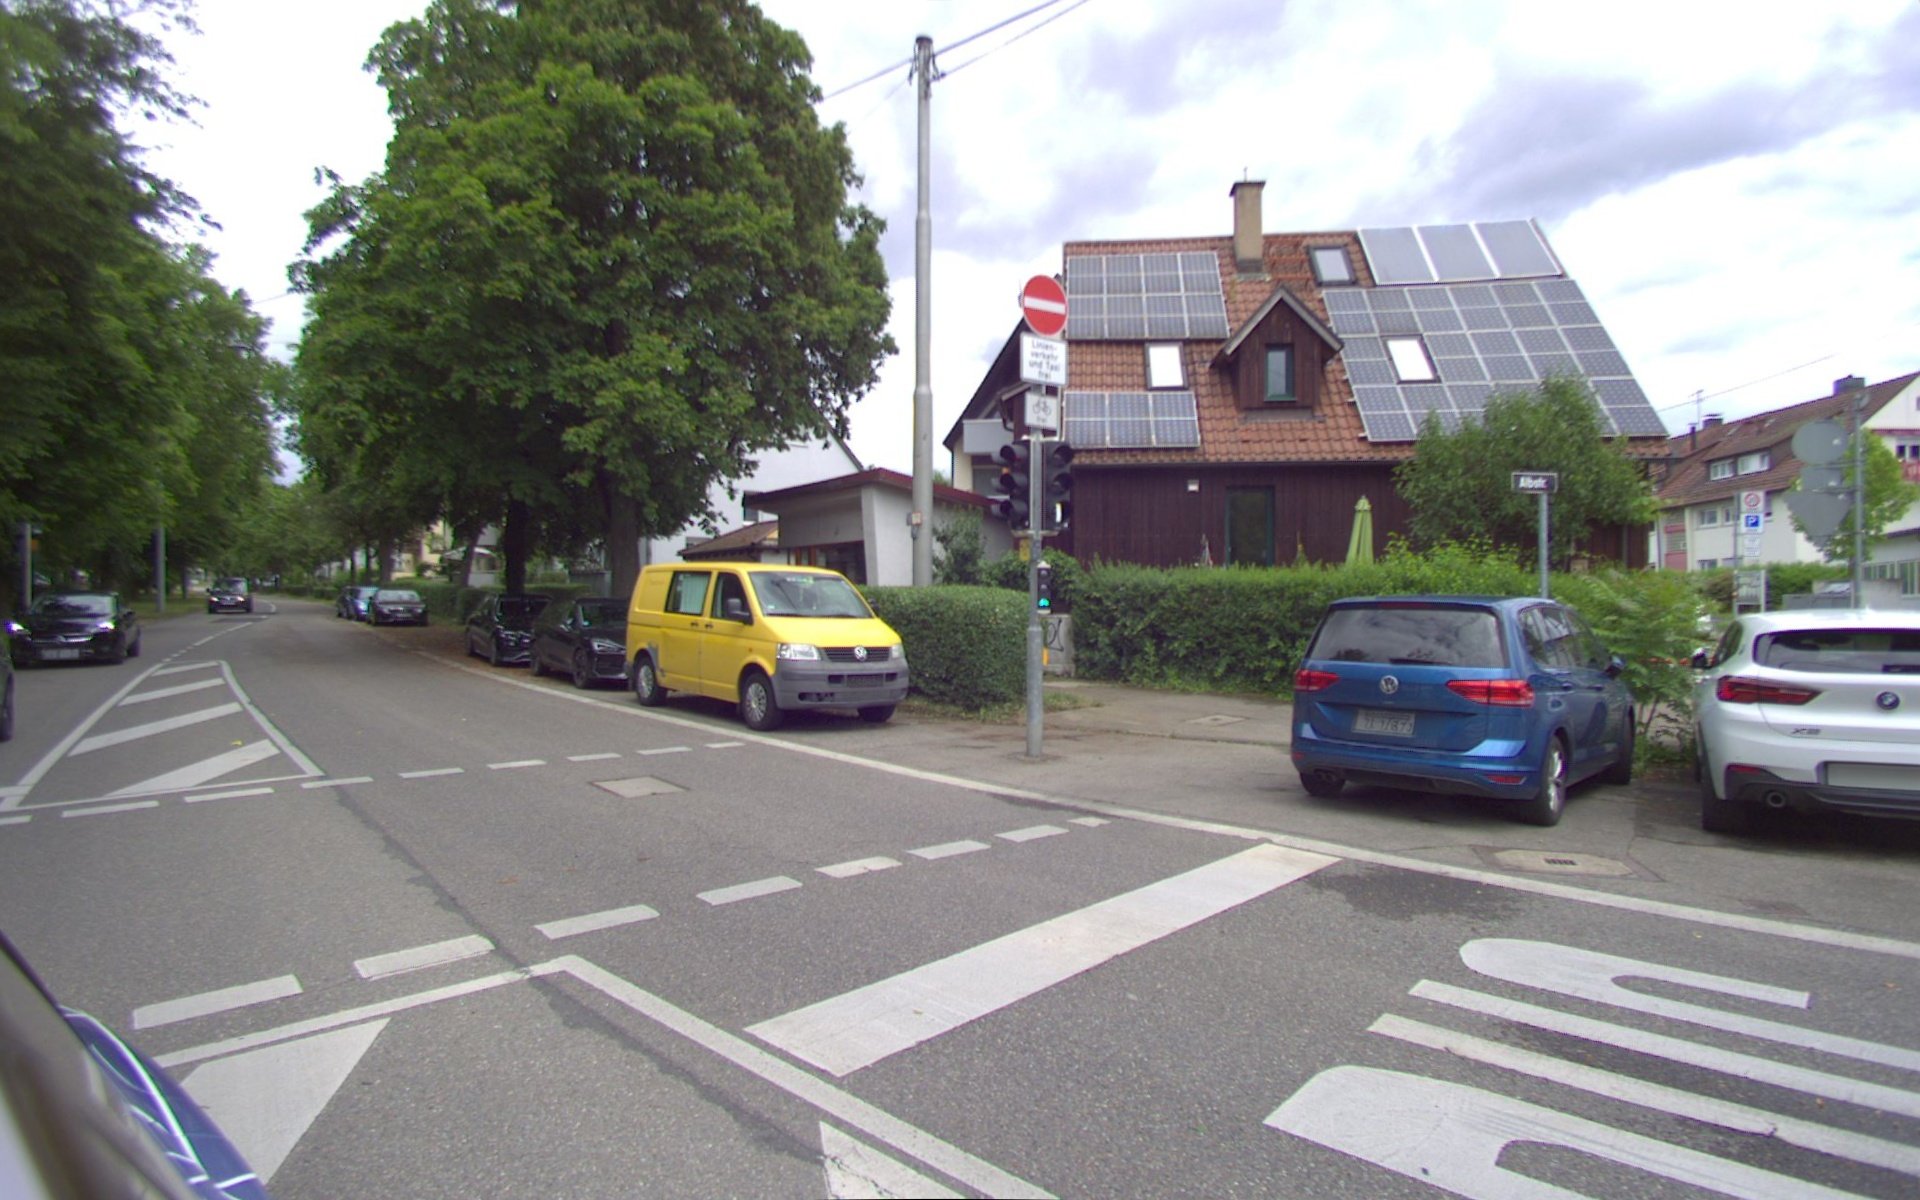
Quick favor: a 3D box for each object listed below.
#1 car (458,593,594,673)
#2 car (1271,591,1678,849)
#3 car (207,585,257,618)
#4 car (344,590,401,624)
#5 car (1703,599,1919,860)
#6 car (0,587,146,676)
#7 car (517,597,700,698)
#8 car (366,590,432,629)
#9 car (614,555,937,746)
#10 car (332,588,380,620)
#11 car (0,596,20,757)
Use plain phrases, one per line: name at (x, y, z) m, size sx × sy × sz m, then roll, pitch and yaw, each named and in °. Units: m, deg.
car at (-9.310, 0.620, 21.503) m, size 1.722 × 1.461 × 4.605 m, roll 1°, pitch 0°, yaw -35°
car at (4.376, 0.757, 8.276) m, size 1.846 × 1.558 × 4.118 m, roll -1°, pitch -1°, yaw 44°
car at (-37.273, 0.050, 51.891) m, size 1.967 × 1.607 × 4.011 m, roll 1°, pitch 0°, yaw -34°
car at (-25.022, 0.295, 43.046) m, size 1.611 × 1.387 × 4.161 m, roll 1°, pitch -1°, yaw -36°
car at (6.554, 0.755, 7.344) m, size 1.842 × 1.483 × 3.857 m, roll -1°, pitch -1°, yaw 36°
car at (-17.824, 0.555, 20.420) m, size 1.785 × 1.540 × 4.011 m, roll 1°, pitch 1°, yaw -33°
car at (-6.207, 0.715, 17.528) m, size 1.722 × 1.461 × 4.524 m, roll 1°, pitch 0°, yaw -36°
car at (-21.322, 0.368, 38.359) m, size 1.822 × 1.387 × 4.606 m, roll 1°, pitch -1°, yaw -33°
car at (-2.574, 0.525, 13.084) m, size 1.893 × 2.004 × 4.807 m, roll 1°, pitch 0°, yaw -41°
car at (-27.670, 0.200, 46.335) m, size 1.516 × 1.387 × 3.780 m, roll 1°, pitch -1°, yaw -36°
car at (-9.404, 0.750, 8.427) m, size 1.775 × 1.562 × 4.309 m, roll 0°, pitch 0°, yaw -36°
